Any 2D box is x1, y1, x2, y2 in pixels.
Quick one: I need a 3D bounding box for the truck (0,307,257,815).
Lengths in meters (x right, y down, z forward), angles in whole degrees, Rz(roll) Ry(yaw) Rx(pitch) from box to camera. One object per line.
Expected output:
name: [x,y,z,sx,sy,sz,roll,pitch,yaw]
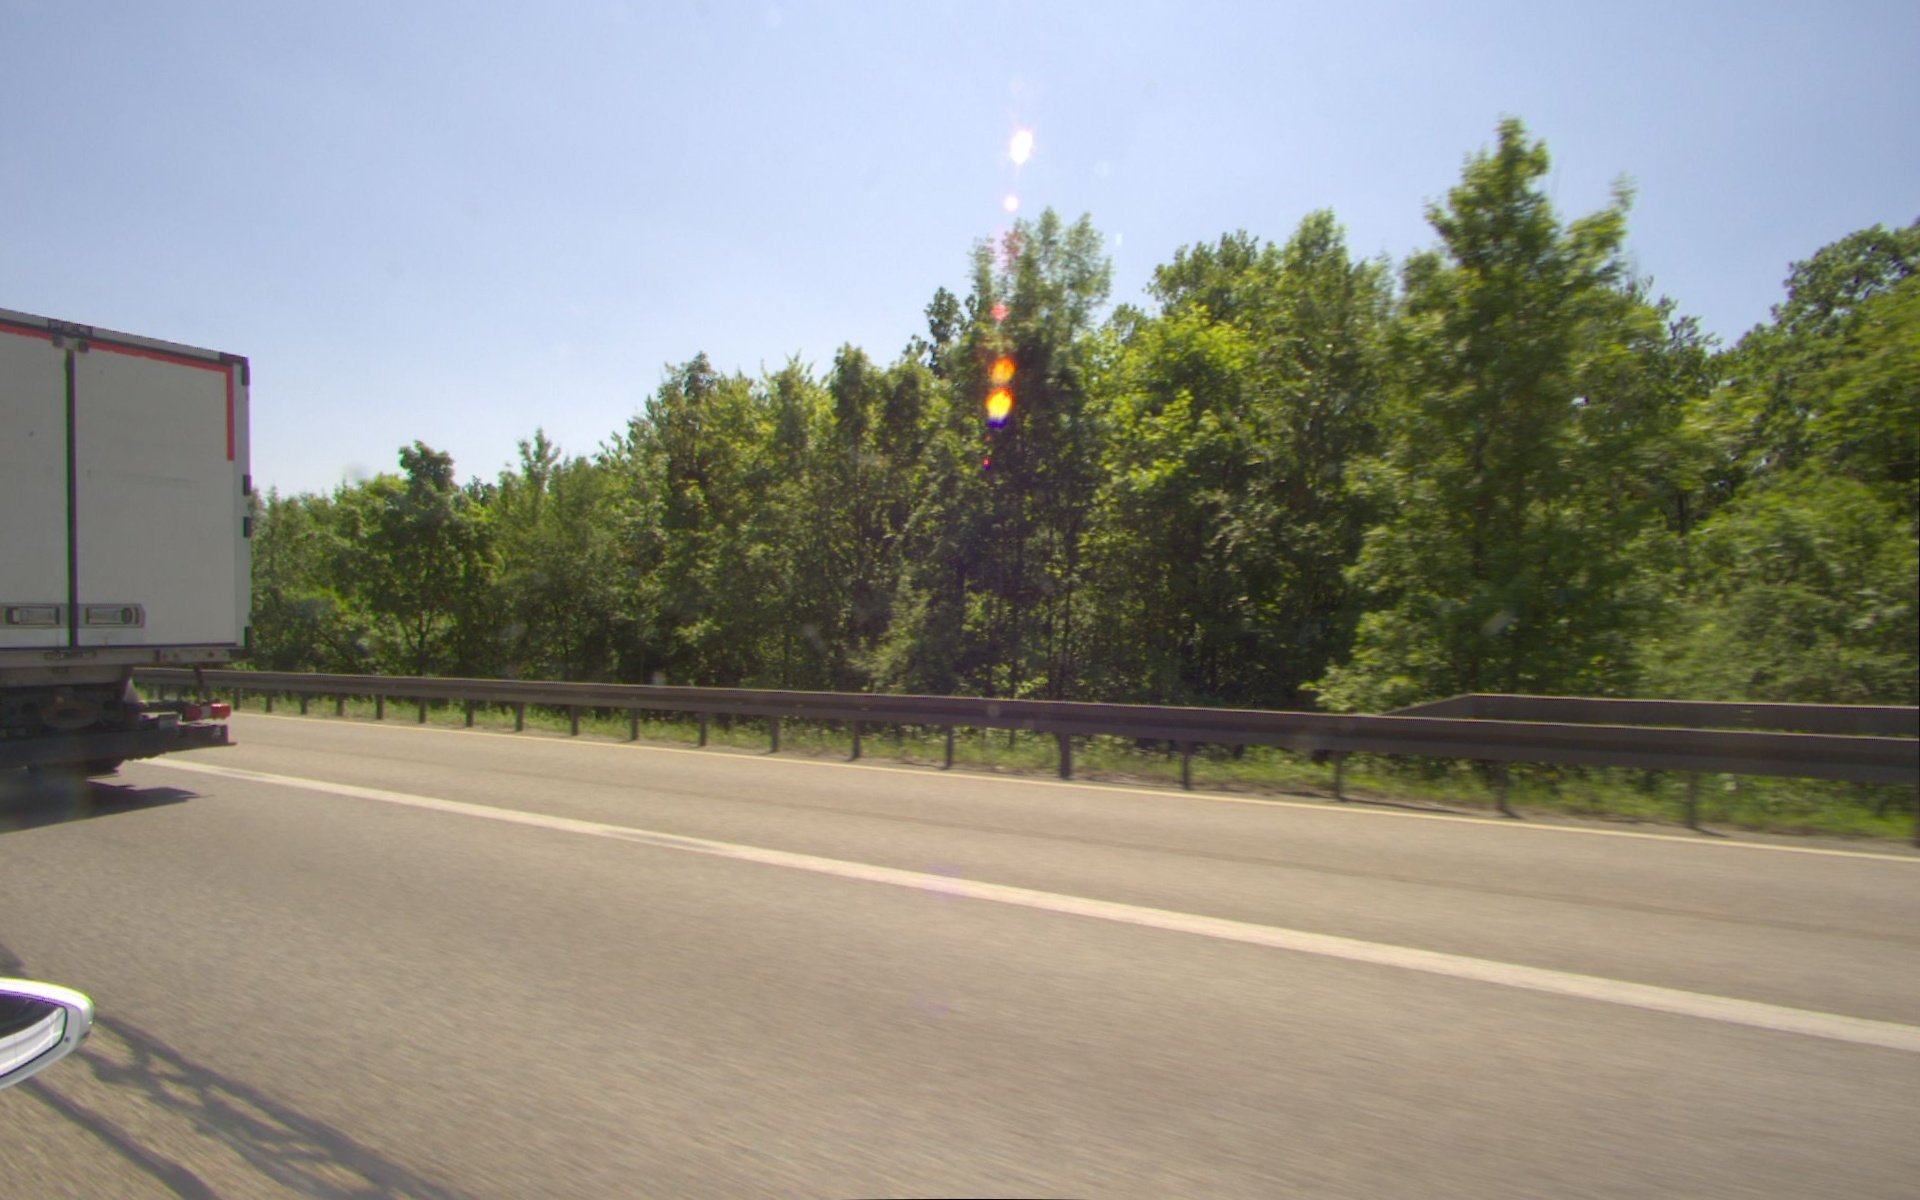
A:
truck: [-11.257,-0.222,10.688,9.641,3.927,2.683,-1,-1,32]
